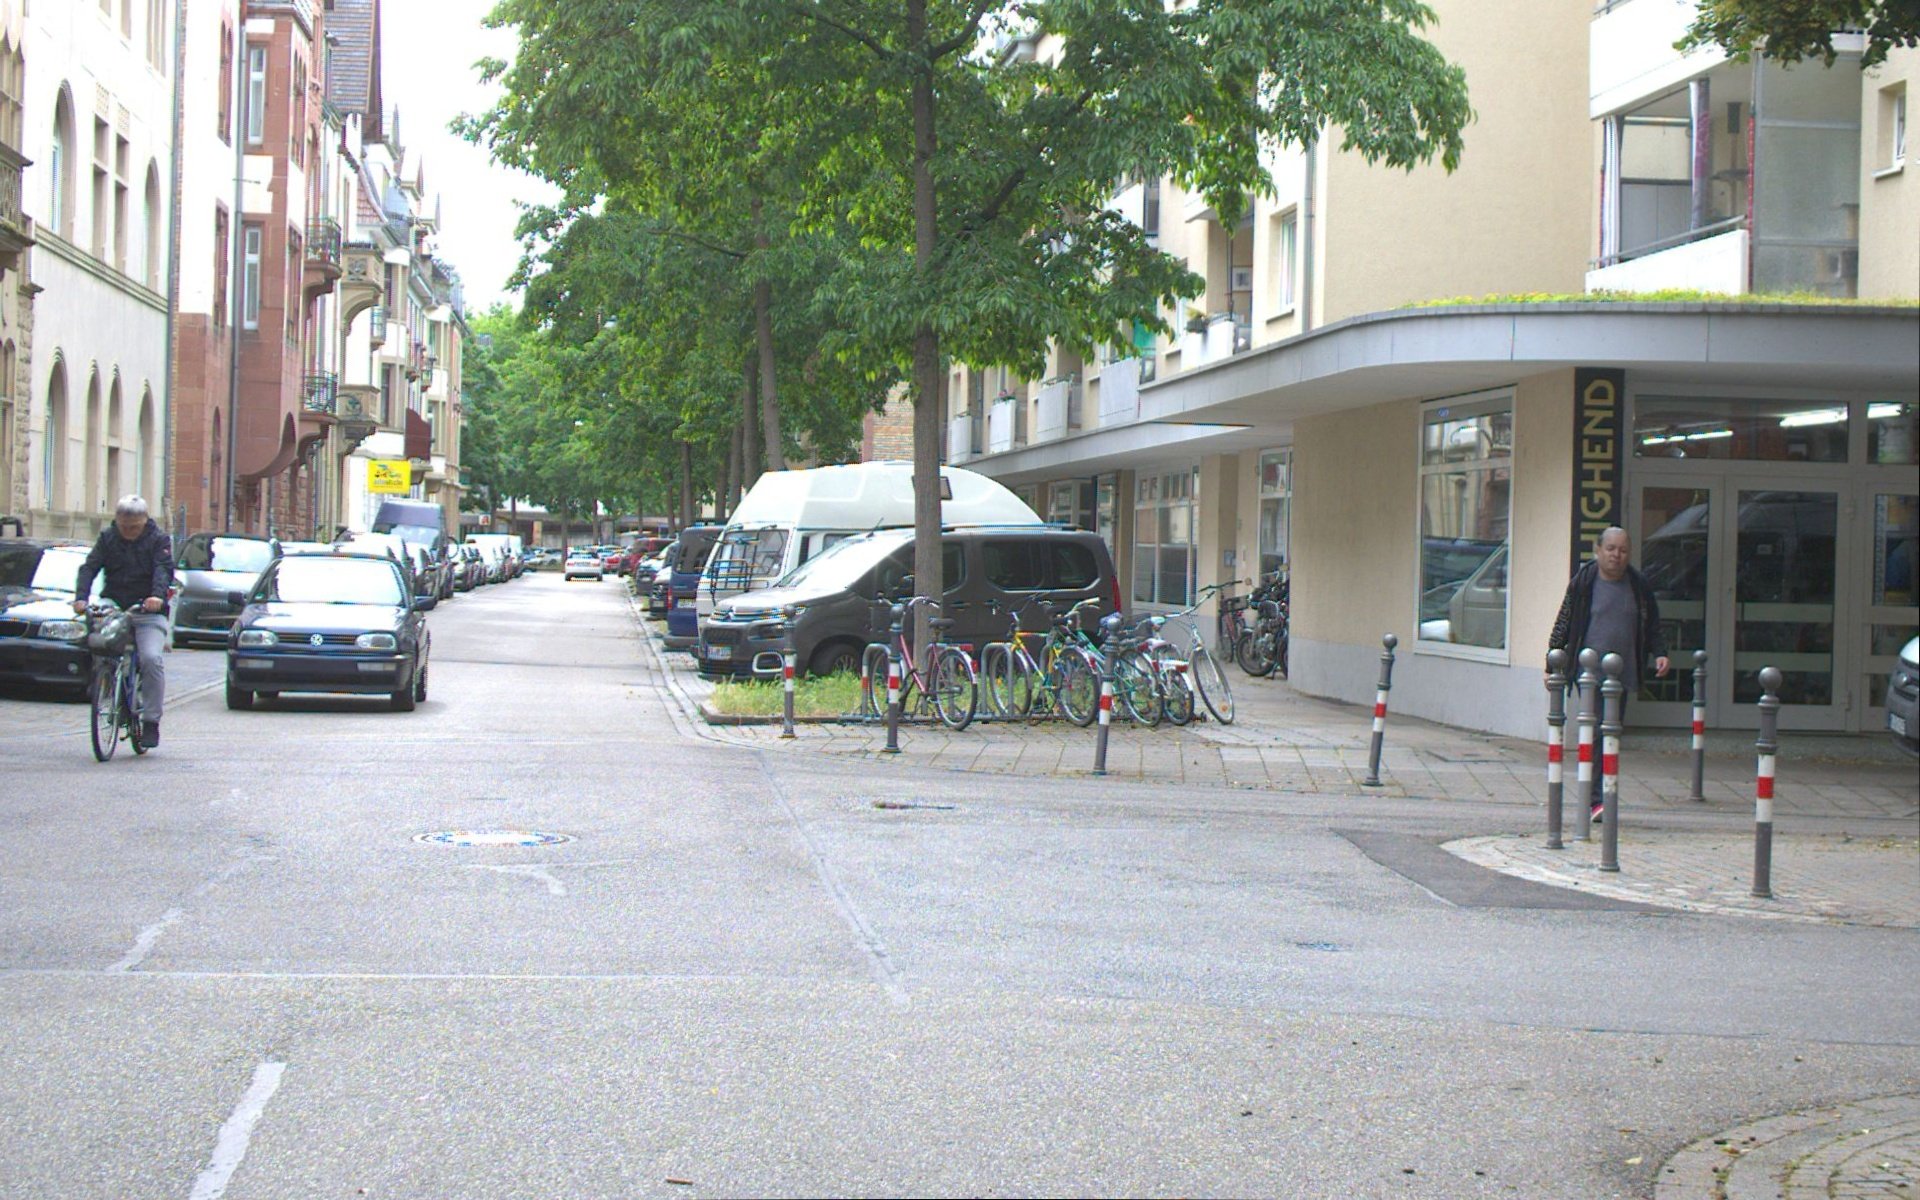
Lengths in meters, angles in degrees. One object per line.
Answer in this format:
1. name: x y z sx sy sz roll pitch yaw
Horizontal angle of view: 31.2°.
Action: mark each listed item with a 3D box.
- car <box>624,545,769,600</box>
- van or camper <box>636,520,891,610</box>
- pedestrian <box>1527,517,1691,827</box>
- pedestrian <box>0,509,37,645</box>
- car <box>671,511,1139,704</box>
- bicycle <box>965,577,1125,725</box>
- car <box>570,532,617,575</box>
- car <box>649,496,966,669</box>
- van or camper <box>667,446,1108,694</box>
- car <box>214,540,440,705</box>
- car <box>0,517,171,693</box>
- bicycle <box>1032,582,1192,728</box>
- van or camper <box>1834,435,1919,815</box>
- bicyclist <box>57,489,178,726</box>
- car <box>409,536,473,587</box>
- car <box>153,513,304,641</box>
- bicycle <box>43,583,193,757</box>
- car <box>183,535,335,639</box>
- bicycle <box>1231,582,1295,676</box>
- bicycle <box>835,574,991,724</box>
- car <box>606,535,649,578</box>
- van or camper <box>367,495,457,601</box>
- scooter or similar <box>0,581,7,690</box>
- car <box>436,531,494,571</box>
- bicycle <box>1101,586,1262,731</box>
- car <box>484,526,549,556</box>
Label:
1. car: -8.096 -0.846 105.766 4.011 1.554 1.884 1 1 -36
2. van or camper: -4.142 -0.753 72.931 5.006 1.863 2.127 -1 1 -33
3. pedestrian: 3.846 0.417 20.406 0.779 1.791 0.509 2 1 -4
4. pedestrian: -10.735 -0.260 38.759 0.515 1.513 0.547 1 1 -6
5. car: -0.542 0.084 34.973 4.331 1.847 1.911 1 1 -31
6. bicycle: 0.703 0.420 28.998 0.548 1.169 1.729 1 1 -27
7. car: -16.904 -2.140 158.501 1.993 1.788 4.001 3 0 -5
8. car: -2.009 -0.236 46.626 2.064 2.189 4.390 2 1 33
9. van or camper: -0.758 -0.316 38.028 4.583 2.587 1.911 1 1 -38
10. car: -5.812 0.201 31.918 1.708 1.408 3.853 1 0 -6
11. car: -8.514 0.029 31.828 1.709 1.489 4.000 3 0 -4
12. bicycle: 1.280 0.453 29.281 0.548 1.169 1.729 1 1 -27
13. van or camper: 9.284 0.194 23.909 5.771 2.485 2.137 1 4 0
14. bicyclist: -5.559 0.047 22.709 0.647 1.533 0.677 1 1 -3
15. car: -16.369 -1.221 108.566 1.789 1.475 4.023 3 1 -6
16. car: -9.871 -0.337 46.540 1.646 1.565 2.957 3 2 -7
17. bicycle: -5.561 0.443 22.792 0.633 1.090 1.799 2 0 -4
18. car: -10.311 -0.183 50.798 1.726 1.382 3.929 3 0 -6
19. bicycle: 3.685 0.341 41.889 0.484 1.086 1.701 2 1 -4
20. bicycle: -0.406 0.392 28.531 0.548 1.169 1.729 1 1 -27
21. car: -16.989 -2.235 175.698 1.993 2.007 4.001 5 0 -6
22. van or camper: -14.660 -1.434 92.130 2.008 2.642 5.317 1 2 -6
23. scooter or similar: -8.266 0.359 26.678 1.469 1.100 0.676 4 1 6
24. car: -18.881 -1.881 131.344 1.993 1.470 4.001 1 1 -6
25. bicycle: 1.893 0.488 29.588 0.548 1.169 1.698 1 1 -27
26. car: -26.680 -3.532 206.673 3.751 1.639 1.822 3 -1 43
